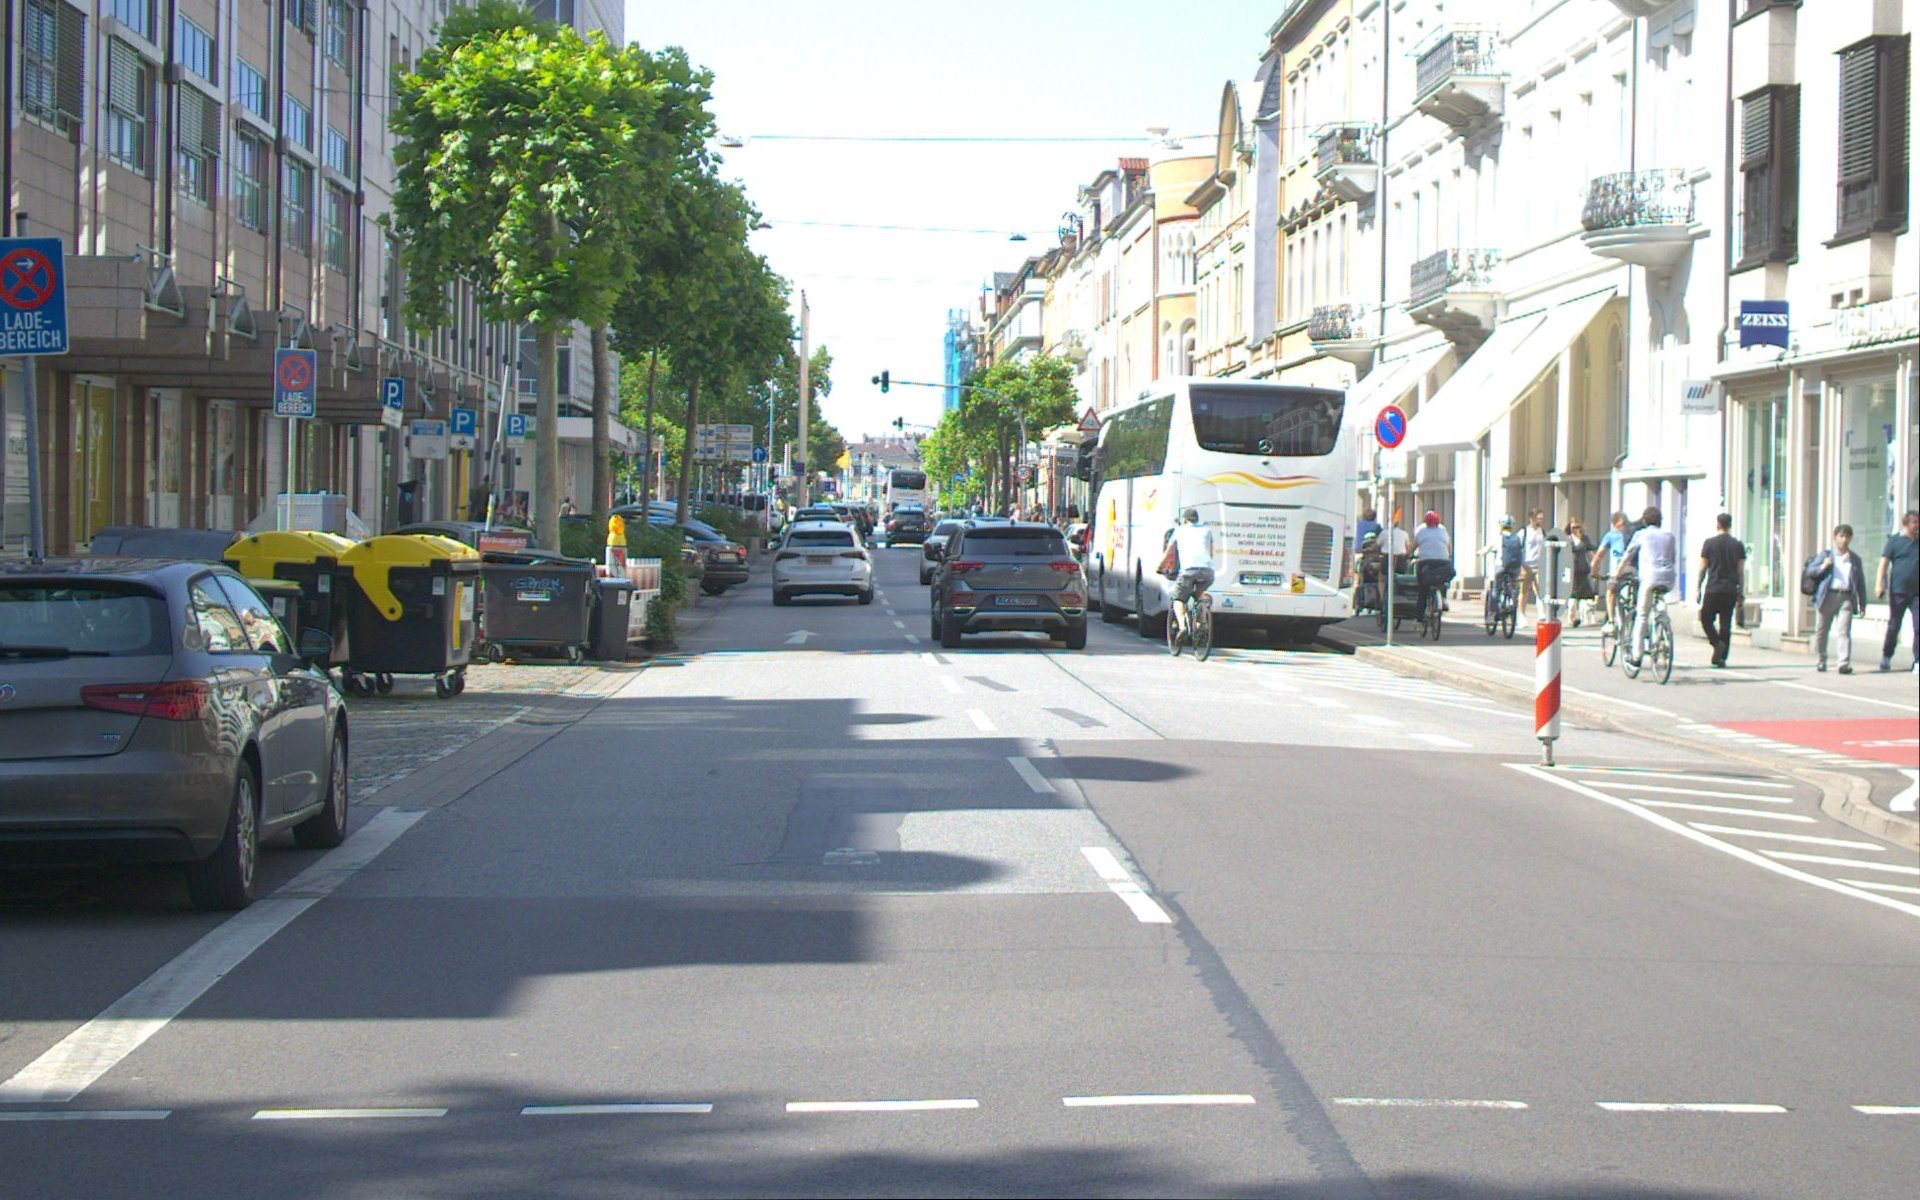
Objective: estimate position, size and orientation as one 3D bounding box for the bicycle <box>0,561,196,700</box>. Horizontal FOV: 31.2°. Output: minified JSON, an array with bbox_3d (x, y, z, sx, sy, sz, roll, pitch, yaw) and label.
[{"bbox_3d":[-7.699,0.252,29.864,1.974,1.116,0.509,3,0,-5],"label":"bicycle"}]

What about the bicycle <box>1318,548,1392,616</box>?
[{"bbox_3d":[6.692,-0.311,58.377,0.838,1.095,2.353,1,1,-3],"label":"bicycle"}]

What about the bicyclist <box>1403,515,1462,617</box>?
[{"bbox_3d":[6.455,-0.473,46.991,0.620,1.366,0.781,1,1,-3],"label":"bicyclist"}]

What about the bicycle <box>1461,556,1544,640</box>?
[{"bbox_3d":[7.481,-0.043,47.495,0.620,1.095,2.353,1,1,-3],"label":"bicycle"}]

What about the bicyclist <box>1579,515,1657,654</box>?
[{"bbox_3d":[7.351,-0.176,38.431,0.620,1.524,0.869,1,1,-3],"label":"bicyclist"}]

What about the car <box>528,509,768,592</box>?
[{"bbox_3d":[-6.300,-1.014,69.109,4.793,1.417,1.879,4,3,38],"label":"car"}]

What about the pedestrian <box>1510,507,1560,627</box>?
[{"bbox_3d":[8.569,-0.485,51.260,0.573,1.772,1.020,1,0,1],"label":"pedestrian"}]

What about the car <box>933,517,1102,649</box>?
[{"bbox_3d":[0.665,-0.241,42.958,1.833,1.522,4.001,2,1,-2],"label":"car"}]

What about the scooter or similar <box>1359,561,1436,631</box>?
[{"bbox_3d":[6.296,-0.063,49.547,0.865,0.953,1.213,1,1,-4],"label":"scooter or similar"}]

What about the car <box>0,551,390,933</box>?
[{"bbox_3d":[-3.797,0.504,15.025,1.936,1.350,4.250,0,2,-1],"label":"car"}]

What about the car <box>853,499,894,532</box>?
[{"bbox_3d":[-4.106,-3.982,163.078,1.863,1.436,4.000,0,0,-2],"label":"car"}]

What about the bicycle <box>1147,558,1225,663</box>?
[{"bbox_3d":[2.676,0.111,40.906,0.664,1.116,2.244,3,2,-2],"label":"bicycle"}]

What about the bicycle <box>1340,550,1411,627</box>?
[{"bbox_3d":[6.196,-0.188,51.348,0.620,1.095,2.353,1,1,-3],"label":"bicycle"}]

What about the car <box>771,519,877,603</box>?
[{"bbox_3d":[-2.501,-0.735,62.569,1.863,1.436,4.001,0,2,-3],"label":"car"}]

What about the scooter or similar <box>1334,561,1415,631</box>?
[{"bbox_3d":[6.821,-0.070,56.670,1.121,1.098,1.085,1,1,-3],"label":"scooter or similar"}]

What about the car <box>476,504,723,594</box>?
[{"bbox_3d":[-6.963,-0.990,66.114,4.753,1.528,1.986,3,2,41],"label":"car"}]

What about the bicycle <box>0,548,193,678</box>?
[{"bbox_3d":[-7.500,0.114,29.221,1.843,1.069,0.557,-1,-1,-5],"label":"bicycle"}]

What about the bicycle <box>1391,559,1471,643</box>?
[{"bbox_3d":[6.437,0.001,47.075,0.620,1.095,2.353,1,1,-3],"label":"bicycle"}]

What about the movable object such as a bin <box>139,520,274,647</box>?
[{"bbox_3d":[-8.259,-0.189,37.721,1.208,1.295,1.127,3,2,-2],"label":"movable object such as a bin"}]

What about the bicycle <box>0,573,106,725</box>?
[{"bbox_3d":[-7.562,0.345,26.234,1.959,1.116,0.557,3,0,-13],"label":"bicycle"}]

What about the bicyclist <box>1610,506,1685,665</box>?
[{"bbox_3d":[7.106,-0.153,35.556,0.694,1.620,0.835,1,1,8],"label":"bicyclist"}]

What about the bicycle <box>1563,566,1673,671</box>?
[{"bbox_3d":[7.342,0.190,38.441,0.620,1.095,2.353,1,1,-3],"label":"bicycle"}]

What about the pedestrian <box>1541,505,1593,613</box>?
[{"bbox_3d":[9.192,-0.614,52.057,0.645,1.612,0.822,1,0,1],"label":"pedestrian"}]

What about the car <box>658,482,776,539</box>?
[{"bbox_3d":[-10.171,-3.767,143.938,4.720,1.996,1.937,5,1,38],"label":"car"}]

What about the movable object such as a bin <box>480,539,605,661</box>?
[{"bbox_3d":[-4.601,-0.010,37.945,1.277,1.295,0.853,1,1,-2],"label":"movable object such as a bin"}]

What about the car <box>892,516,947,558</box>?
[{"bbox_3d":[-1.481,-2.289,124.564,1.863,1.436,4.001,1,2,-2],"label":"car"}]

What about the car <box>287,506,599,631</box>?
[{"bbox_3d":[-7.021,-0.448,46.531,4.054,1.489,1.931,4,3,39],"label":"car"}]

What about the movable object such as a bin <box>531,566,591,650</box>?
[{"bbox_3d":[-4.551,0.091,39.234,0.499,0.936,0.555,0,2,15],"label":"movable object such as a bin"}]

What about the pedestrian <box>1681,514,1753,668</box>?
[{"bbox_3d":[8.543,-0.103,38.809,0.620,1.714,0.835,1,0,1],"label":"pedestrian"}]

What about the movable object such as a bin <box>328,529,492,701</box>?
[{"bbox_3d":[-4.976,0.116,31.215,1.124,1.445,1.438,3,2,4],"label":"movable object such as a bin"}]

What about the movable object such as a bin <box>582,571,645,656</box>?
[{"bbox_3d":[-3.981,0.152,39.497,0.553,0.936,0.500,-2,2,-27],"label":"movable object such as a bin"}]

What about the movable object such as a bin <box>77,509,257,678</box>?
[{"bbox_3d":[-7.252,-0.077,31.497,1.209,1.445,1.364,3,2,4],"label":"movable object such as a bin"}]

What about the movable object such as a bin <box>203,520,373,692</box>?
[{"bbox_3d":[-6.101,0.036,31.291,1.124,1.445,1.438,3,2,4],"label":"movable object such as a bin"}]

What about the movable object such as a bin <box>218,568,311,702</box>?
[{"bbox_3d":[-6.019,0.300,29.780,0.722,1.094,0.657,2,2,-9],"label":"movable object such as a bin"}]

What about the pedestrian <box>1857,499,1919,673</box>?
[{"bbox_3d":[10.068,-0.144,36.940,0.694,1.844,0.835,1,0,7],"label":"pedestrian"}]

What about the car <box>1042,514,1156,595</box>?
[{"bbox_3d":[2.877,-0.976,72.191,1.812,1.461,4.581,2,2,-4],"label":"car"}]

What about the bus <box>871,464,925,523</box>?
[{"bbox_3d":[-3.941,-6.688,216.311,2.769,3.592,8.976,1,2,-5],"label":"bus"}]

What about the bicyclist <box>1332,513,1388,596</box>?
[{"bbox_3d":[6.736,-0.777,57.964,0.787,1.374,0.723,1,1,-3],"label":"bicyclist"}]

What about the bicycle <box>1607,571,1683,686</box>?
[{"bbox_3d":[7.110,0.282,35.740,0.594,1.116,1.801,1,2,6],"label":"bicycle"}]

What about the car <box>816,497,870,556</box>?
[{"bbox_3d":[-4.230,-2.618,123.695,1.863,2.023,4.000,1,0,-3],"label":"car"}]

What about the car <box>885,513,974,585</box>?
[{"bbox_3d":[-0.698,-1.102,75.846,1.833,1.522,4.000,-1,0,-2],"label":"car"}]

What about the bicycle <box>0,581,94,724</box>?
[{"bbox_3d":[-7.473,0.356,25.515,1.962,1.014,0.671,3,0,-13],"label":"bicycle"}]

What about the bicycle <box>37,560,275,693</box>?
[{"bbox_3d":[-7.126,0.233,30.516,1.967,1.116,0.509,2,0,-5],"label":"bicycle"}]

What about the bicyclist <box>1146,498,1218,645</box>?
[{"bbox_3d":[2.625,-0.348,40.773,0.694,1.667,0.916,3,2,-1],"label":"bicyclist"}]

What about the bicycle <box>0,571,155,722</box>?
[{"bbox_3d":[-7.472,0.336,26.893,2.235,1.116,0.557,3,0,-13],"label":"bicycle"}]

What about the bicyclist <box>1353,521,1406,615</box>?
[{"bbox_3d":[6.231,-0.478,51.126,0.620,1.366,0.781,1,1,-3],"label":"bicyclist"}]

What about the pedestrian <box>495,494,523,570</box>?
[{"bbox_3d":[-9.895,-1.490,75.467,0.565,1.651,0.637,1,1,-9],"label":"pedestrian"}]

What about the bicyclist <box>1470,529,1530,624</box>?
[{"bbox_3d":[7.479,-0.337,47.635,0.620,1.292,0.867,1,1,-3],"label":"bicyclist"}]

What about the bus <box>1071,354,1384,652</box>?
[{"bbox_3d":[3.675,-1.424,50.805,2.881,3.729,12.428,3,1,-3],"label":"bus"}]

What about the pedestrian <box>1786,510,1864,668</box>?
[{"bbox_3d":[9.365,-0.126,37.250,0.694,1.680,0.835,1,1,7],"label":"pedestrian"}]
